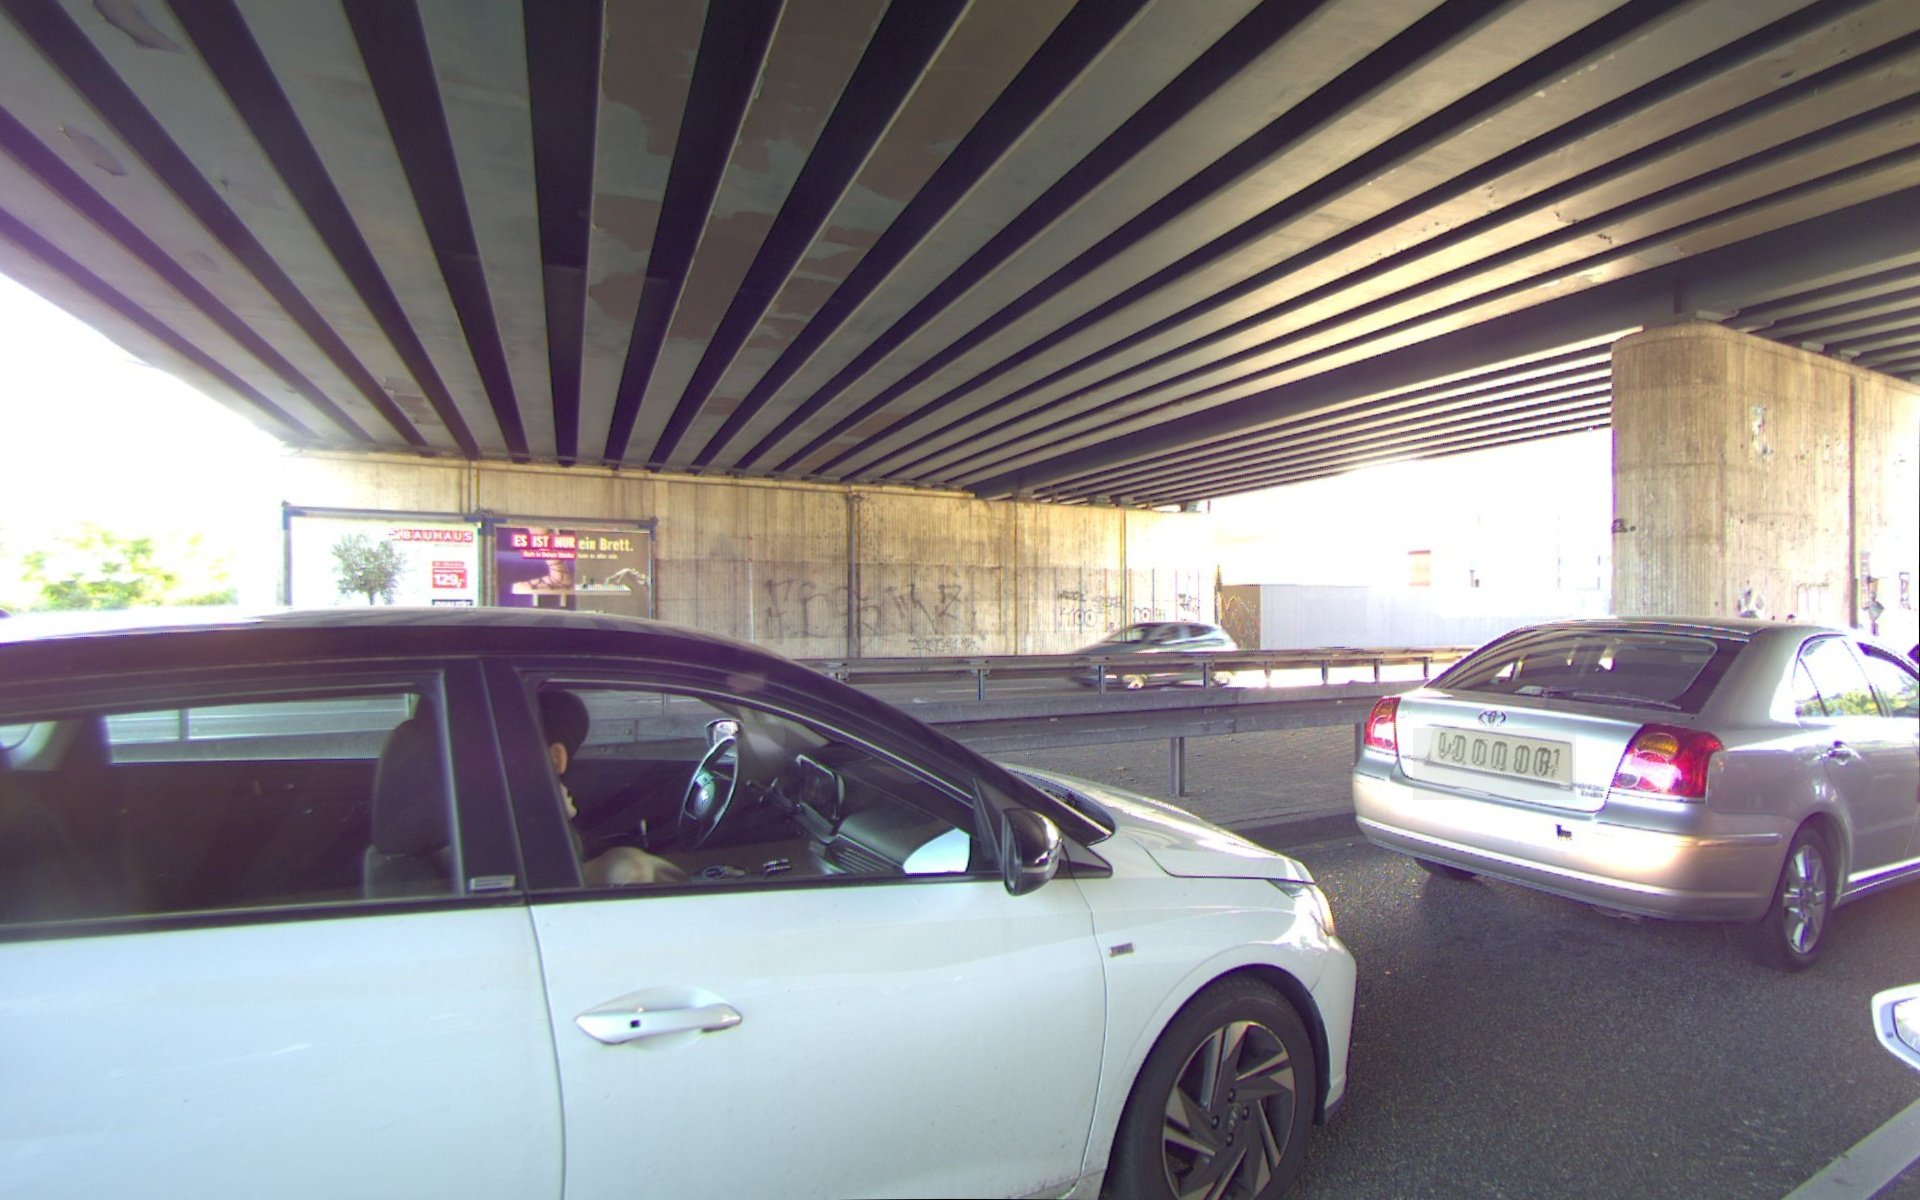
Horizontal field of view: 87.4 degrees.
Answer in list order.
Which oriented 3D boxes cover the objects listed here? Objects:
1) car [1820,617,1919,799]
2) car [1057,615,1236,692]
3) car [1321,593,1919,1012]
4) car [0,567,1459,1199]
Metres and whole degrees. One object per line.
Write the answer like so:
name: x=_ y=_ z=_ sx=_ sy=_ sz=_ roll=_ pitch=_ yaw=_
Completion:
car: x=9.509 y=0.895 z=8.841 sx=3.686 sy=1.457 sz=1.805 roll=0 pitch=0 yaw=-29
car: x=4.093 y=1.100 z=21.919 sx=3.782 sy=1.540 sz=1.610 roll=0 pitch=-1 yaw=-32
car: x=4.084 y=0.771 z=5.464 sx=4.270 sy=1.499 sz=1.724 roll=1 pitch=-1 yaw=-32
car: x=-0.786 y=0.731 z=2.365 sx=3.946 sy=1.499 sz=1.724 roll=1 pitch=-1 yaw=-32
